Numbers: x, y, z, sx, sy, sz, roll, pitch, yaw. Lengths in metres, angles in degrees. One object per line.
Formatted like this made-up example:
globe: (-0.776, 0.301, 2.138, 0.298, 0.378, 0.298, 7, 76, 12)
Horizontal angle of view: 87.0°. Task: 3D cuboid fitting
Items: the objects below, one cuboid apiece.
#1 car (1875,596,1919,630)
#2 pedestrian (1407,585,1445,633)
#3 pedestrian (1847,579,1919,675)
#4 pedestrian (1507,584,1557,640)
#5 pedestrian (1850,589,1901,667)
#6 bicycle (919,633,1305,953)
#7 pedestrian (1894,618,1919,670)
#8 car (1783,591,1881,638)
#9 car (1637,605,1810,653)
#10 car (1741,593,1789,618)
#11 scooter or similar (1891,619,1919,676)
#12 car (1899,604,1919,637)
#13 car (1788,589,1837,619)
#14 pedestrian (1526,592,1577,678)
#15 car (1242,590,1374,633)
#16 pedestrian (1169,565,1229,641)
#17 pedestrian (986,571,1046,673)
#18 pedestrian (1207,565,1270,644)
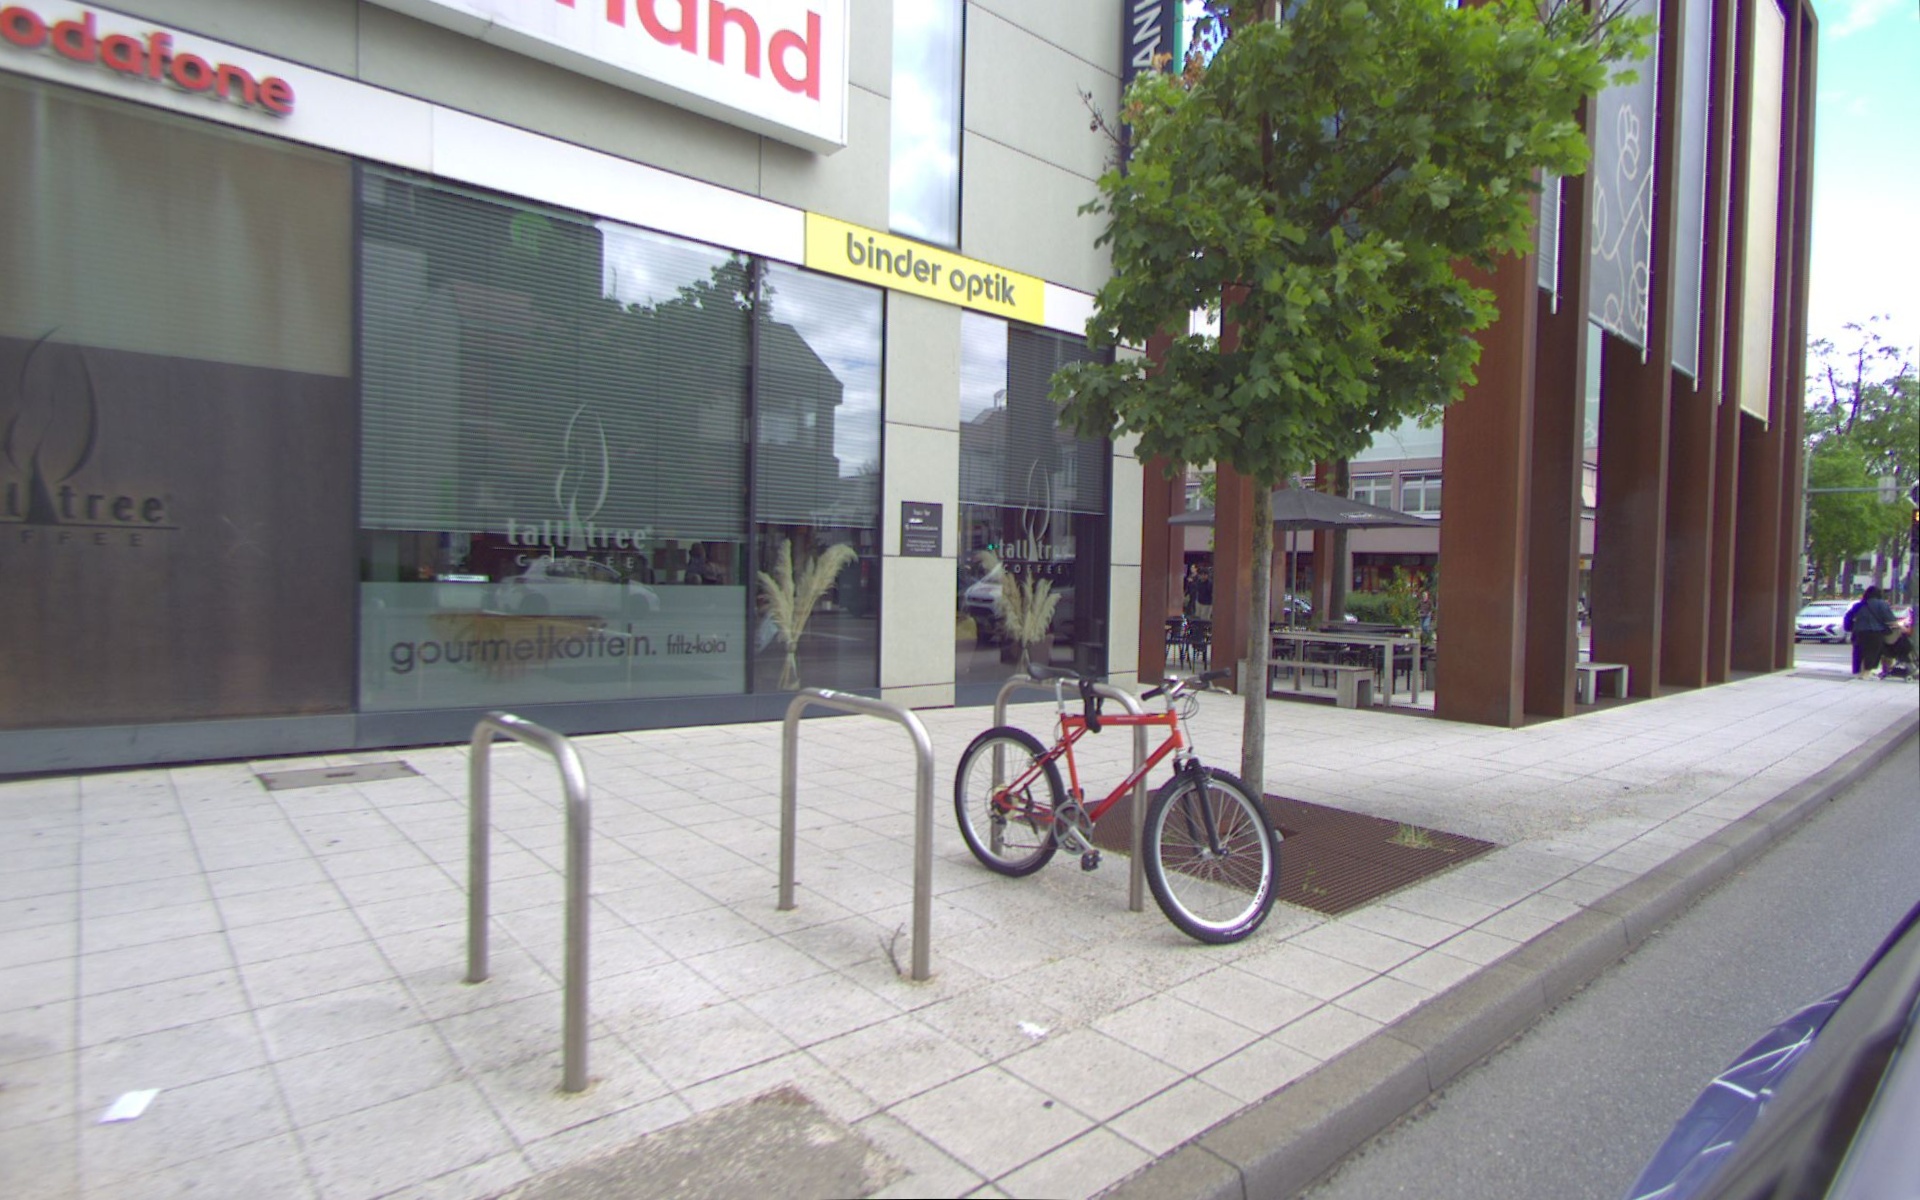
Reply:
car: (42.327, 0.552, 45.305, 3.579, 1.467, 1.629, 0, 0, -41)
pedestrian: (15.842, 0.288, 34.413, 1.041, 1.604, 0.831, 0, 1, -43)
pedestrian: (16.591, 0.466, 18.058, 0.666, 1.667, 0.874, 1, 1, -7)
pedestrian: (18.365, 0.361, 32.493, 1.091, 1.736, 1.057, 0, 2, -42)
pedestrian: (17.302, 0.520, 19.123, 0.572, 1.438, 0.603, 1, 1, -39)
bicycle: (0.581, 0.704, 4.387, 0.738, 1.004, 1.565, 0, 2, -37)
pedestrian: (17.604, 0.805, 18.747, 0.446, 0.935, 0.362, 1, 1, -39)
car: (33.489, 0.530, 38.841, 4.295, 1.722, 1.746, 0, 0, -33)
car: (27.913, 1.040, 37.124, 4.775, 1.629, 1.855, 0, 0, 5)
car: (55.746, 0.351, 70.082, 4.676, 1.566, 1.995, -1, 4, -45)
scooter or similar: (17.254, 0.853, 18.080, 0.608, 0.973, 0.636, 1, 1, -7)
car: (47.705, 0.986, 49.906, 3.933, 1.549, 1.799, 0, 0, -43)
car: (57.404, 0.236, 68.095, 4.675, 1.899, 1.996, -1, 4, -44)
pedestrian: (8.816, 0.511, 15.079, 0.595, 1.235, 0.449, 0, 1, -38)
car: (12.541, 0.368, 36.658, 1.770, 1.422, 4.177, 0, 1, -43)
pedestrian: (5.555, 0.062, 23.499, 1.102, 1.702, 0.879, 0, 2, -44)
pedestrian: (0.849, 0.320, 15.323, 0.596, 1.487, 0.647, 0, 1, -40)
pedestrian: (6.213, 0.091, 22.569, 1.102, 1.702, 0.879, 0, 2, -44)
